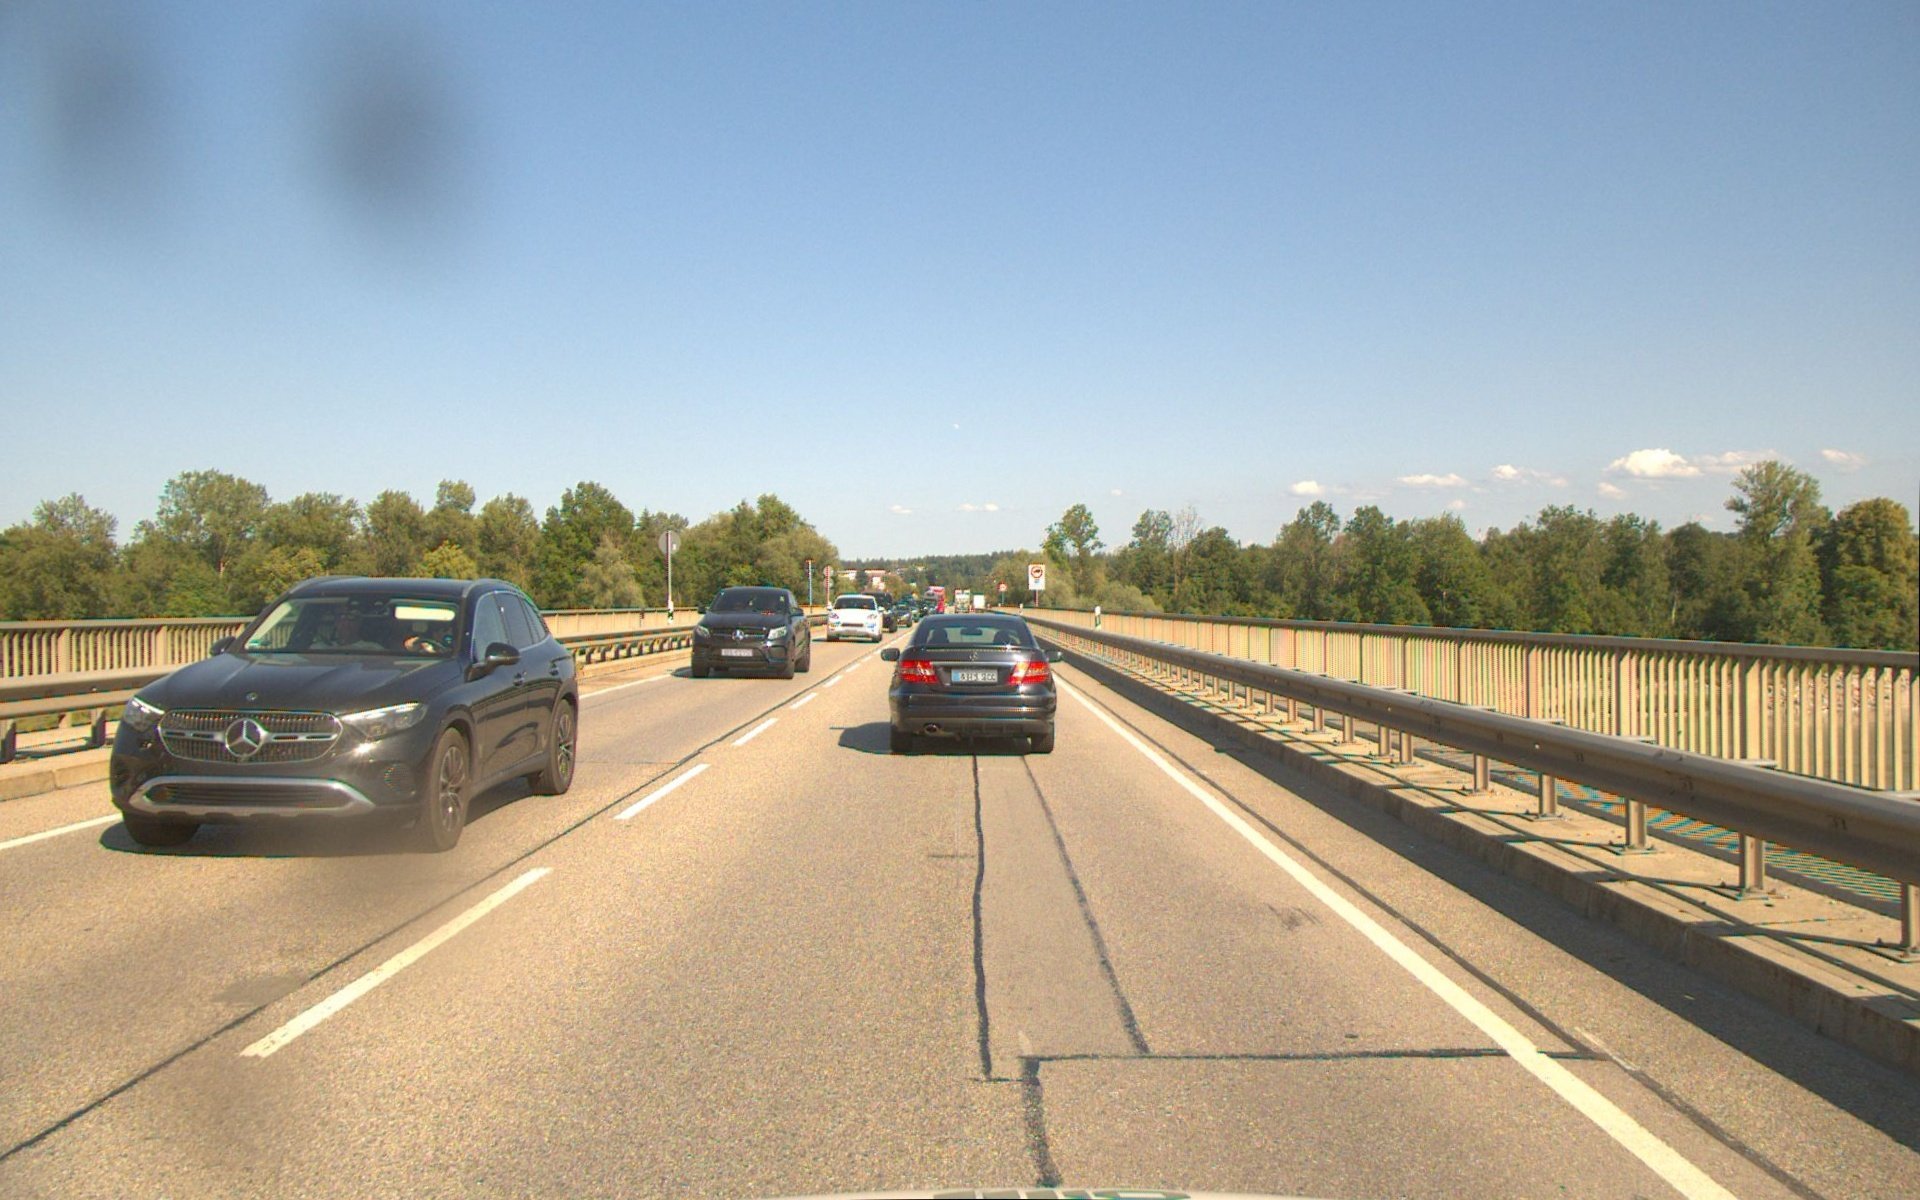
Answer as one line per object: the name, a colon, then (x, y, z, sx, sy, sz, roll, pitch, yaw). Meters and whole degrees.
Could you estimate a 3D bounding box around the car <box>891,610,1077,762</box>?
car: (0.233, 0.836, 17.778, 1.756, 1.400, 4.000, 1, 0, 0)

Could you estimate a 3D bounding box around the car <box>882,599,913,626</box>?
car: (-3.703, 0.723, 97.555, 1.730, 1.472, 4.453, 1, 0, -3)

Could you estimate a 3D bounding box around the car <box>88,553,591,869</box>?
car: (-3.850, 0.599, 11.172, 1.766, 1.690, 4.432, 1, 0, -1)

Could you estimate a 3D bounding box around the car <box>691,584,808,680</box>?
car: (-4.080, 0.579, 32.673, 1.910, 1.723, 4.474, 2, 0, -3)

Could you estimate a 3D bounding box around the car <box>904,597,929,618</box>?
car: (-3.895, 0.669, 147.304, 2.013, 1.681, 4.718, 2, 0, -3)

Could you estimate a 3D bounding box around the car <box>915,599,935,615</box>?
car: (-3.496, 0.701, 163.900, 1.770, 1.605, 4.198, 1, 0, -3)

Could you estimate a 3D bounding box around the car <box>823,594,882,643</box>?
car: (-3.895, 0.653, 60.643, 1.943, 1.680, 4.596, 1, 0, -2)

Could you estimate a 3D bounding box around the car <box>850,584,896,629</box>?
car: (-4.225, 0.303, 80.291, 1.998, 1.905, 5.066, 7, 0, -3)
